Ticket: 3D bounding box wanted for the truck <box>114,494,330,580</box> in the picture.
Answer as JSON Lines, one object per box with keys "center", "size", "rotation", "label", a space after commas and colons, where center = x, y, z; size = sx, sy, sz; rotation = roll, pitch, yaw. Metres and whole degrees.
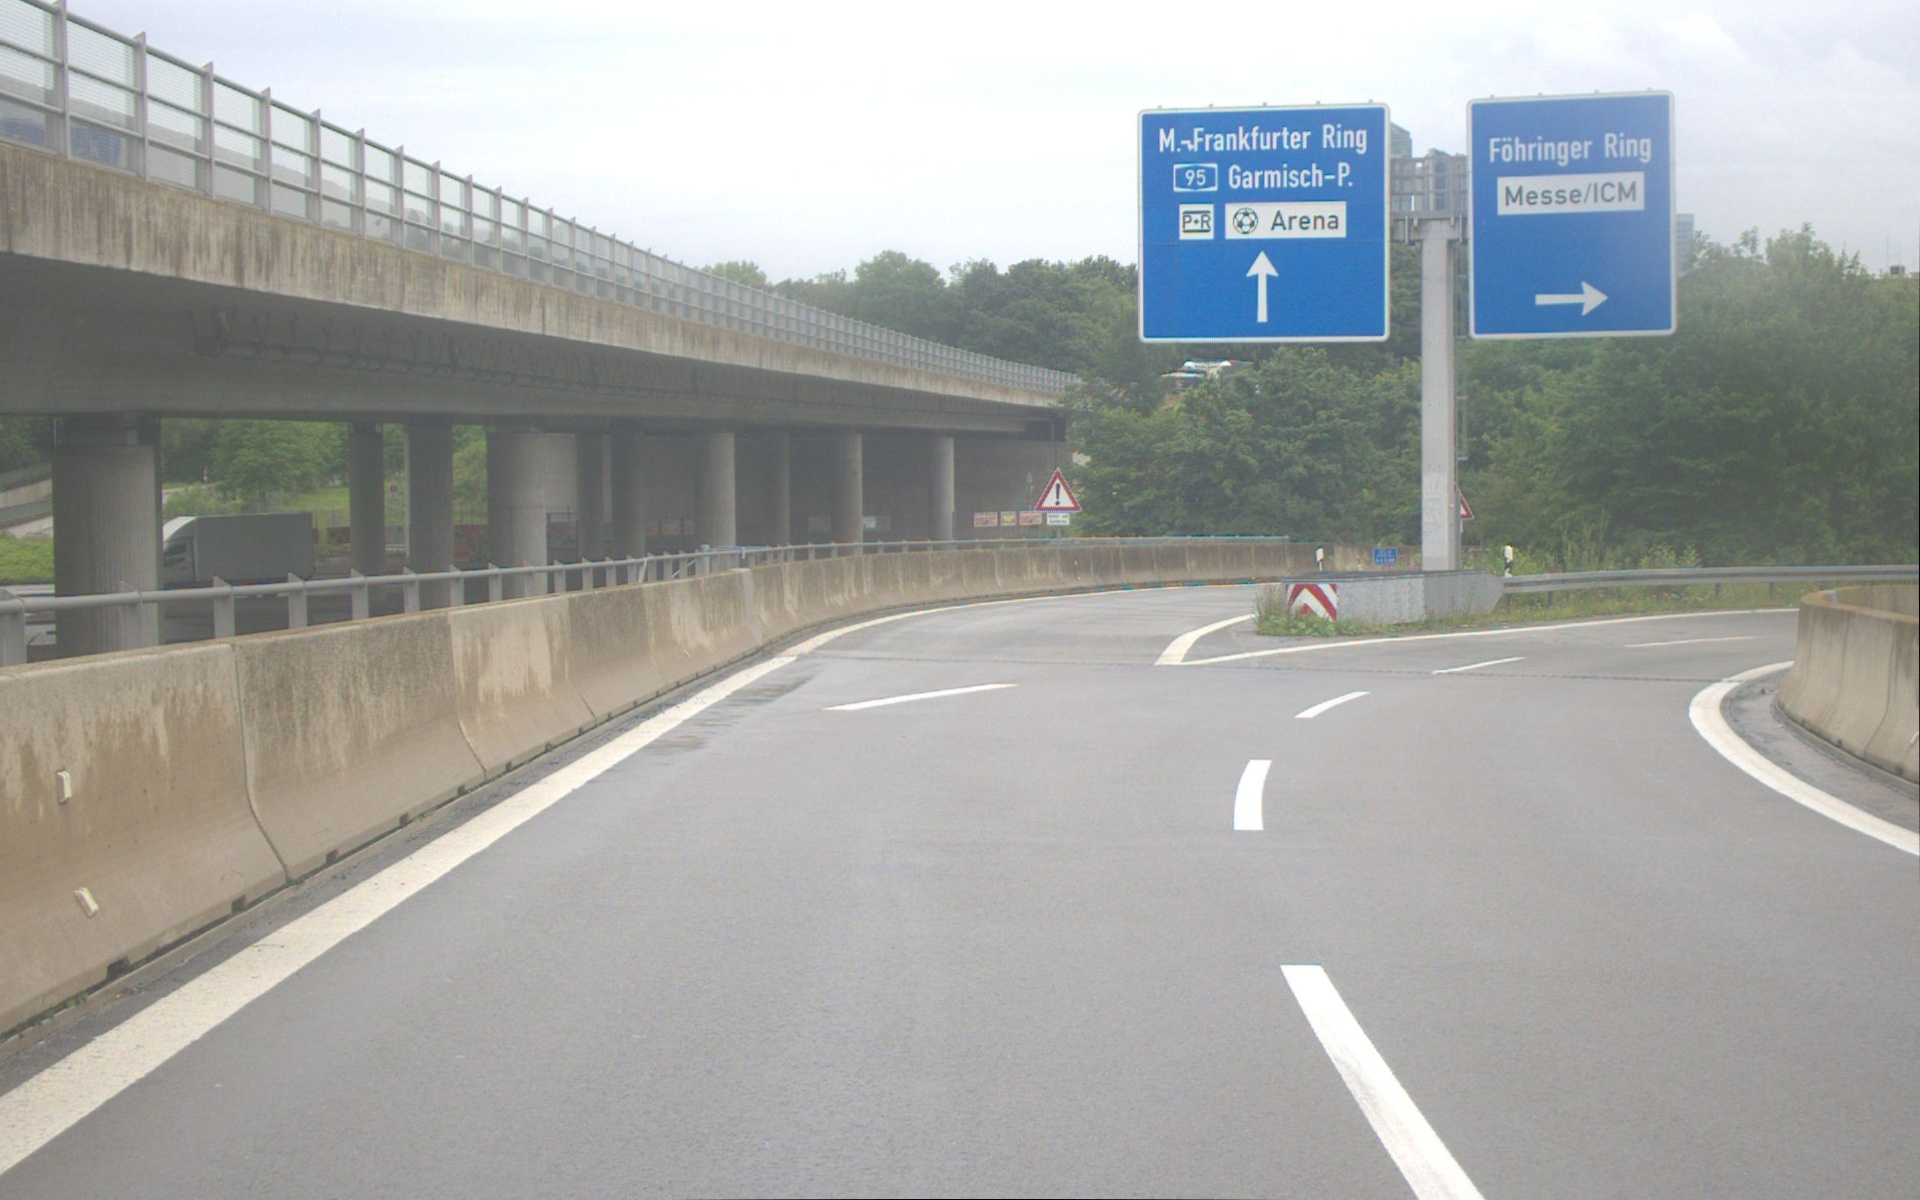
{"center": [-26.355, -2.233, 122.883], "size": [7.210, 2.967, 2.260], "rotation": [0, 1, -33], "label": "truck"}
